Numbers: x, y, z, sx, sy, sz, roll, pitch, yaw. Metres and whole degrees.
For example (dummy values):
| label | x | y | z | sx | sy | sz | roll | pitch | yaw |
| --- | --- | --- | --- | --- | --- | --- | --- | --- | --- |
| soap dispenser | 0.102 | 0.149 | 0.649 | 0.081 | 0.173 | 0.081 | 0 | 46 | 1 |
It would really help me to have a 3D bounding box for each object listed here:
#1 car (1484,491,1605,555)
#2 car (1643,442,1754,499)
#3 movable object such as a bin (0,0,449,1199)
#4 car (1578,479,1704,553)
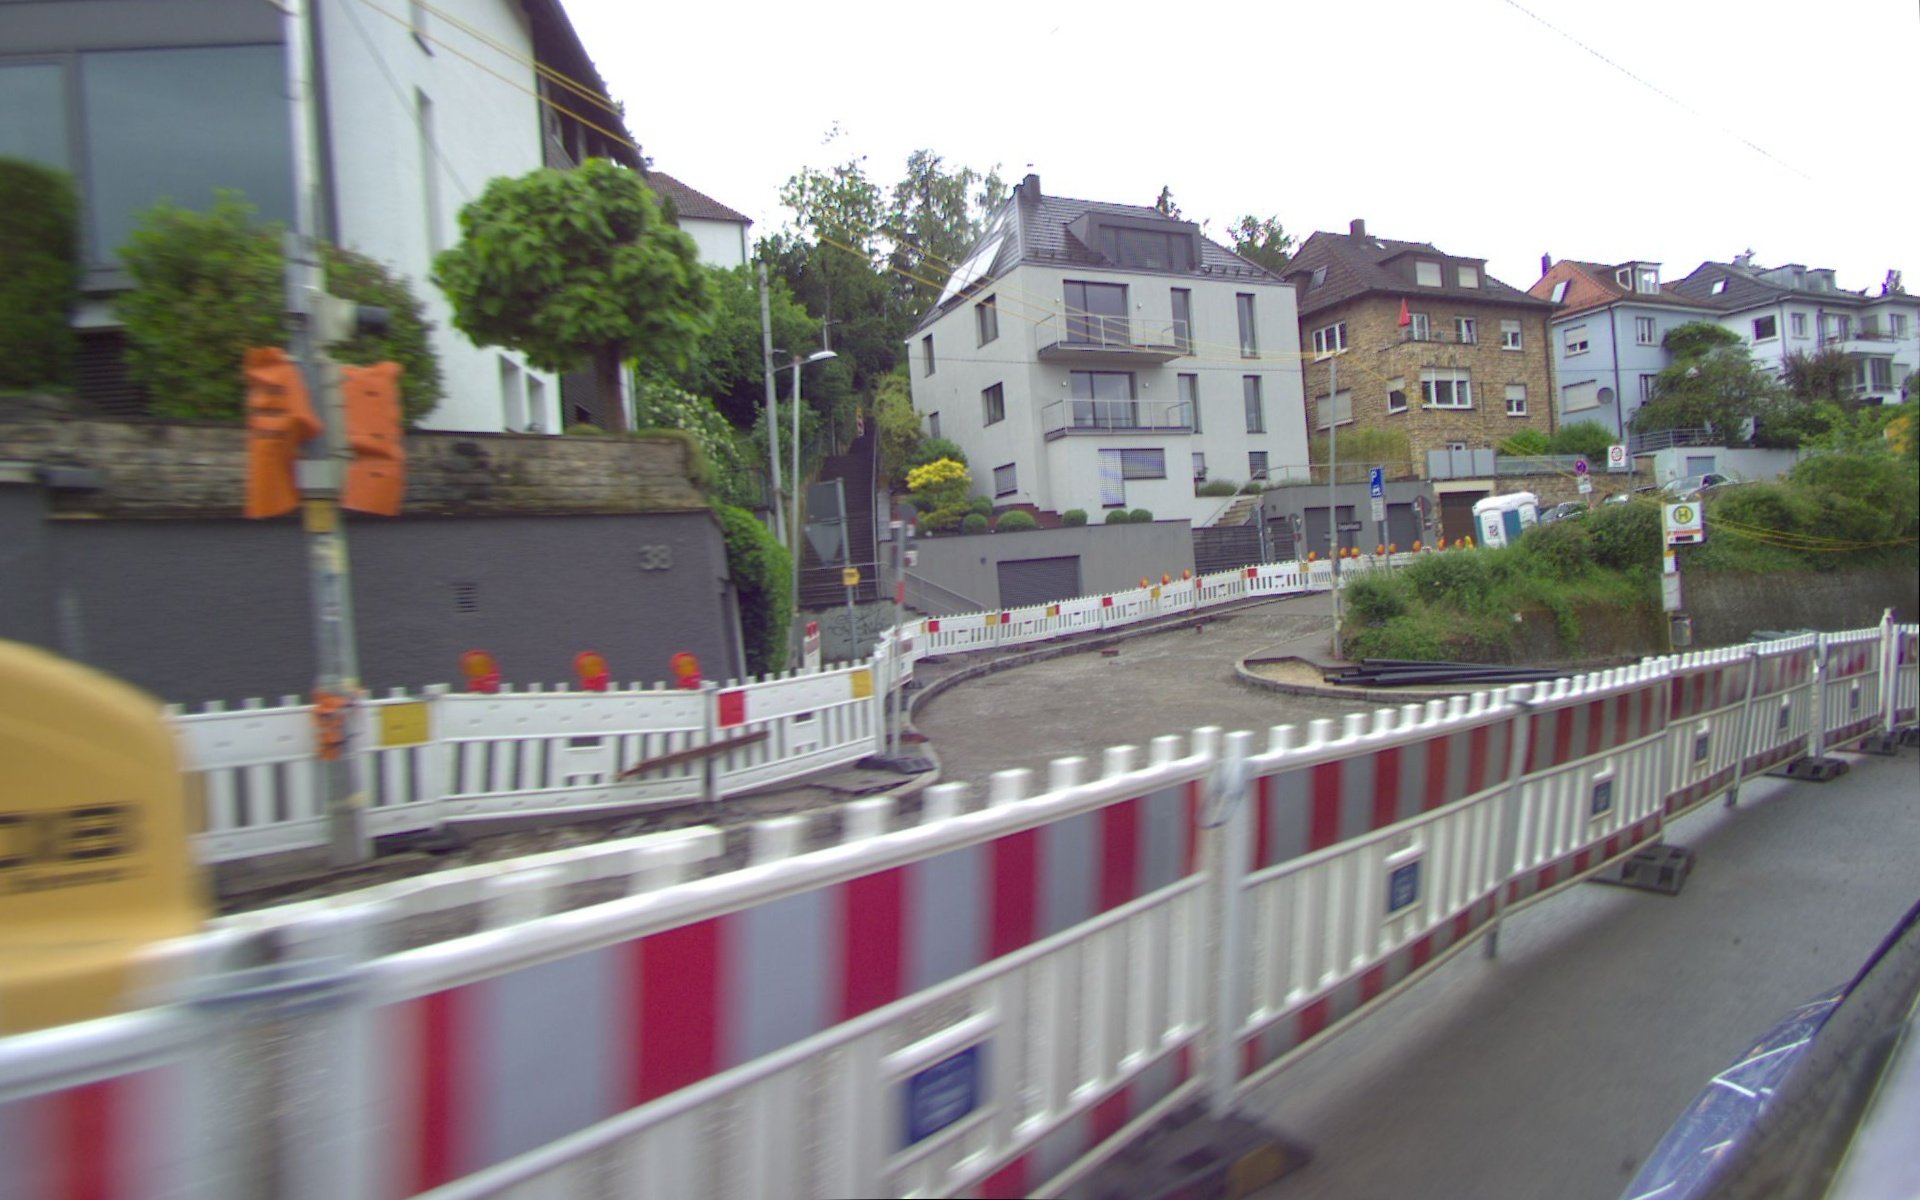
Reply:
| label | x | y | z | sx | sy | sz | roll | pitch | yaw |
| --- | --- | --- | --- | --- | --- | --- | --- | --- | --- |
| car | 20.870 | -2.752 | 36.138 | 3.761 | 1.653 | 1.864 | -11 | 5 | -26 |
| car | 29.285 | -5.132 | 40.127 | 3.889 | 1.653 | 1.864 | -11 | 5 | -26 |
| movable object such as a bin | -4.007 | 0.353 | 1.316 | 5.578 | 2.874 | 2.090 | -3 | 0 | -40 |
| car | 25.762 | -3.178 | 38.269 | 4.346 | 2.100 | 1.904 | -11 | 5 | -26 |
